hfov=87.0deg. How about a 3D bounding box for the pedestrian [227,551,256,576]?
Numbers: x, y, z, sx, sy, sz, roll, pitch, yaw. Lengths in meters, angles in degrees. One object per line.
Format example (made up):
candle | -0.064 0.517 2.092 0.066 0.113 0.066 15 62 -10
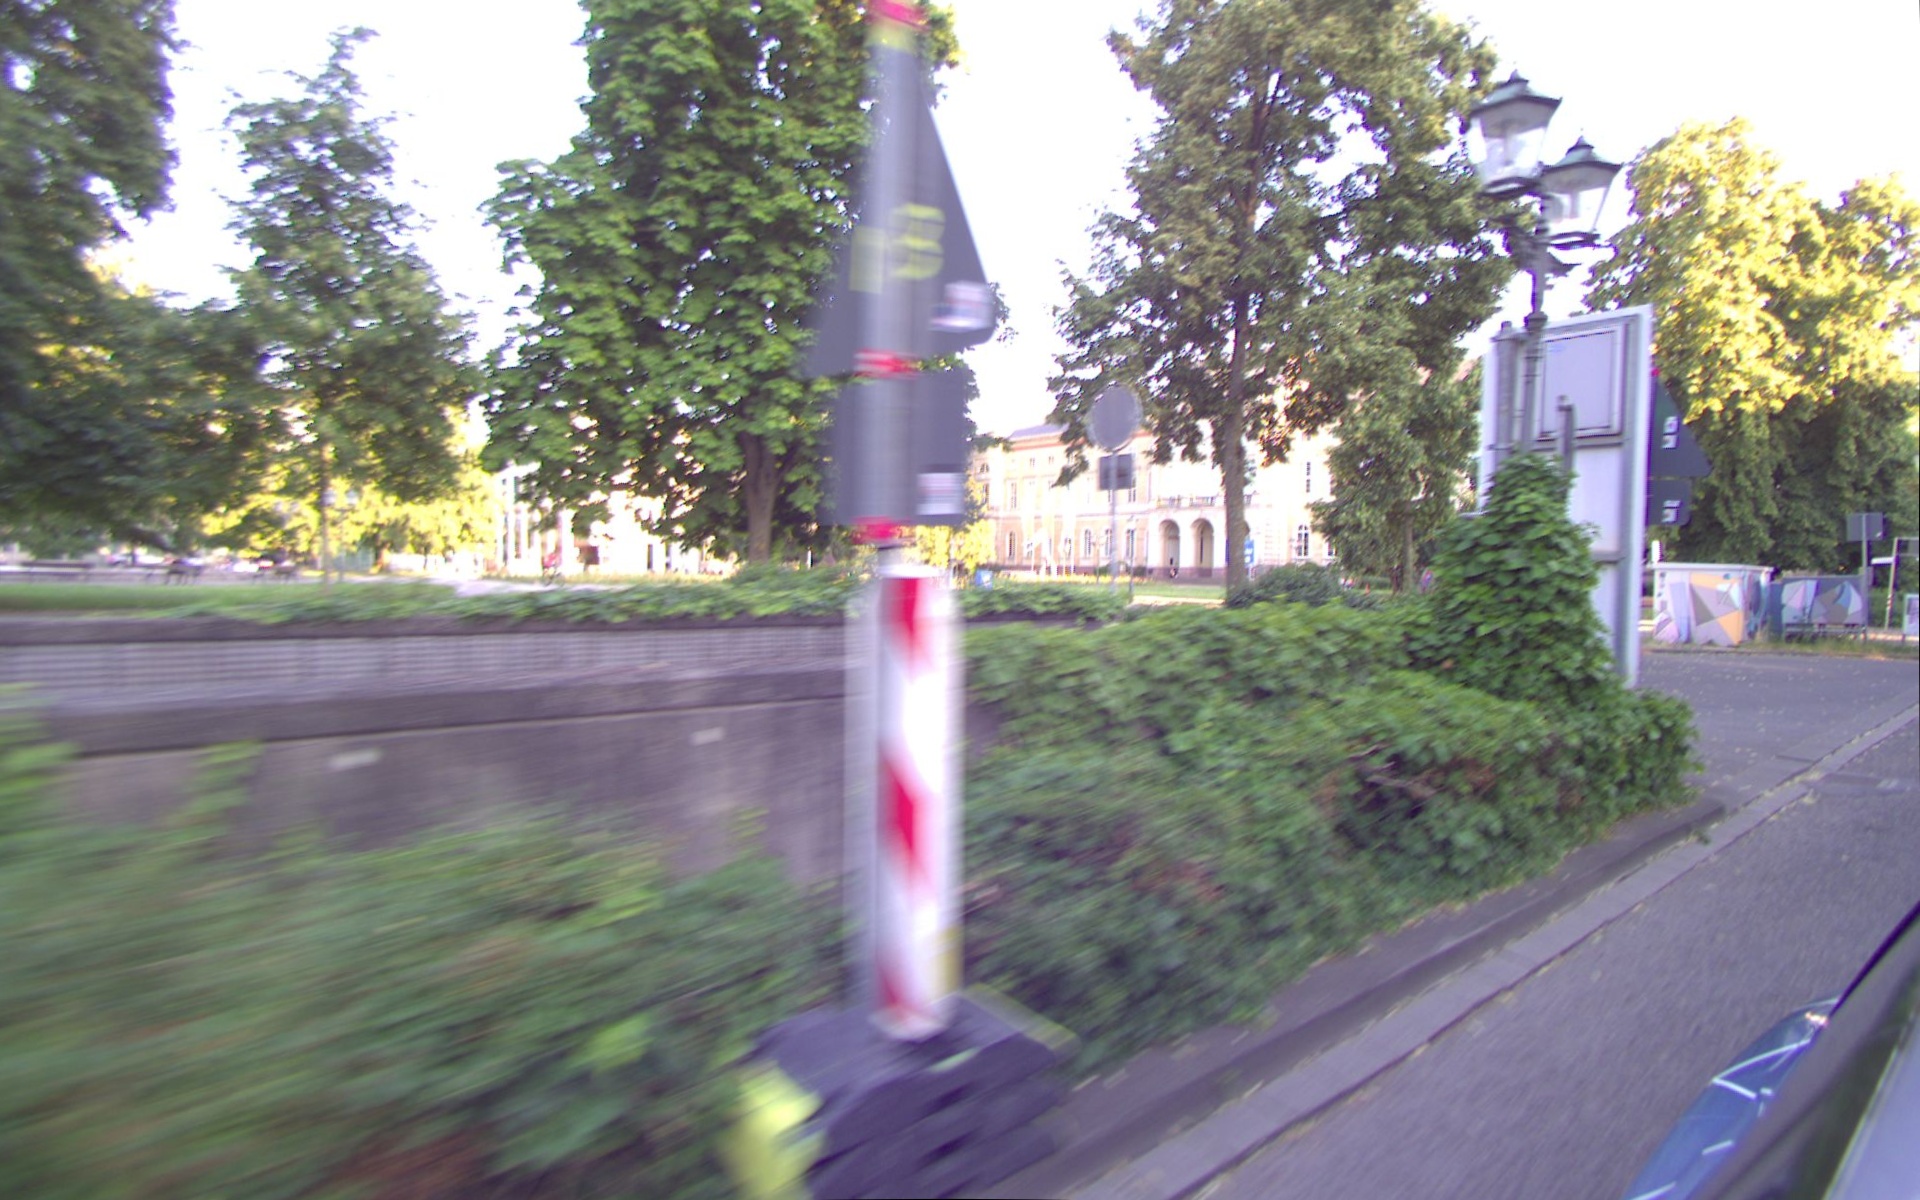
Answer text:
pedestrian | -41.033 -2.072 57.790 0.819 1.387 1.150 2 0 -4

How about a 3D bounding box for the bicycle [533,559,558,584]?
bicycle | -20.158 -1.377 49.194 0.556 1.191 1.771 0 2 -43

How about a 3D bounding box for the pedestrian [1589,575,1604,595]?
pedestrian | 36.890 -0.864 58.641 0.593 1.122 0.395 1 1 5

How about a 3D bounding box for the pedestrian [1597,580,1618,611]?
pedestrian | 25.920 -0.195 40.517 0.526 1.219 0.955 2 2 43

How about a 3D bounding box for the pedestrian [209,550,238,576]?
pedestrian | -41.960 -2.099 57.635 0.819 1.387 1.150 2 0 -4

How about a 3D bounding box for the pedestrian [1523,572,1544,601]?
pedestrian | 24.105 -0.566 42.558 0.606 1.229 0.656 2 2 43

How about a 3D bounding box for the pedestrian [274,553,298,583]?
pedestrian | -28.840 -1.372 43.305 0.724 1.215 1.103 0 2 -42

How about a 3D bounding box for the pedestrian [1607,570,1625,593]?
pedestrian | 41.716 -1.184 64.364 0.742 1.462 0.815 1 1 15

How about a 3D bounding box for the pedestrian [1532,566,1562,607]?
pedestrian | 23.572 -0.551 40.656 0.856 1.646 0.745 2 2 44

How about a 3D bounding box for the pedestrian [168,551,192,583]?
pedestrian | -30.226 -1.293 39.227 0.653 1.215 1.103 0 2 -42

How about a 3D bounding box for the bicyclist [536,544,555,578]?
bicyclist | -20.148 -1.892 49.187 0.648 1.652 0.676 0 2 -43

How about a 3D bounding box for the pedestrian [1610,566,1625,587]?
pedestrian | 37.887 -1.353 58.336 0.594 1.217 0.394 1 1 9

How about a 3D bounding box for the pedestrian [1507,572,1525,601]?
pedestrian | 23.628 -0.576 42.989 0.499 1.229 0.583 2 2 43

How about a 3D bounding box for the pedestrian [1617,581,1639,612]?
pedestrian | 26.493 -0.153 40.128 0.606 1.219 0.656 2 2 43
